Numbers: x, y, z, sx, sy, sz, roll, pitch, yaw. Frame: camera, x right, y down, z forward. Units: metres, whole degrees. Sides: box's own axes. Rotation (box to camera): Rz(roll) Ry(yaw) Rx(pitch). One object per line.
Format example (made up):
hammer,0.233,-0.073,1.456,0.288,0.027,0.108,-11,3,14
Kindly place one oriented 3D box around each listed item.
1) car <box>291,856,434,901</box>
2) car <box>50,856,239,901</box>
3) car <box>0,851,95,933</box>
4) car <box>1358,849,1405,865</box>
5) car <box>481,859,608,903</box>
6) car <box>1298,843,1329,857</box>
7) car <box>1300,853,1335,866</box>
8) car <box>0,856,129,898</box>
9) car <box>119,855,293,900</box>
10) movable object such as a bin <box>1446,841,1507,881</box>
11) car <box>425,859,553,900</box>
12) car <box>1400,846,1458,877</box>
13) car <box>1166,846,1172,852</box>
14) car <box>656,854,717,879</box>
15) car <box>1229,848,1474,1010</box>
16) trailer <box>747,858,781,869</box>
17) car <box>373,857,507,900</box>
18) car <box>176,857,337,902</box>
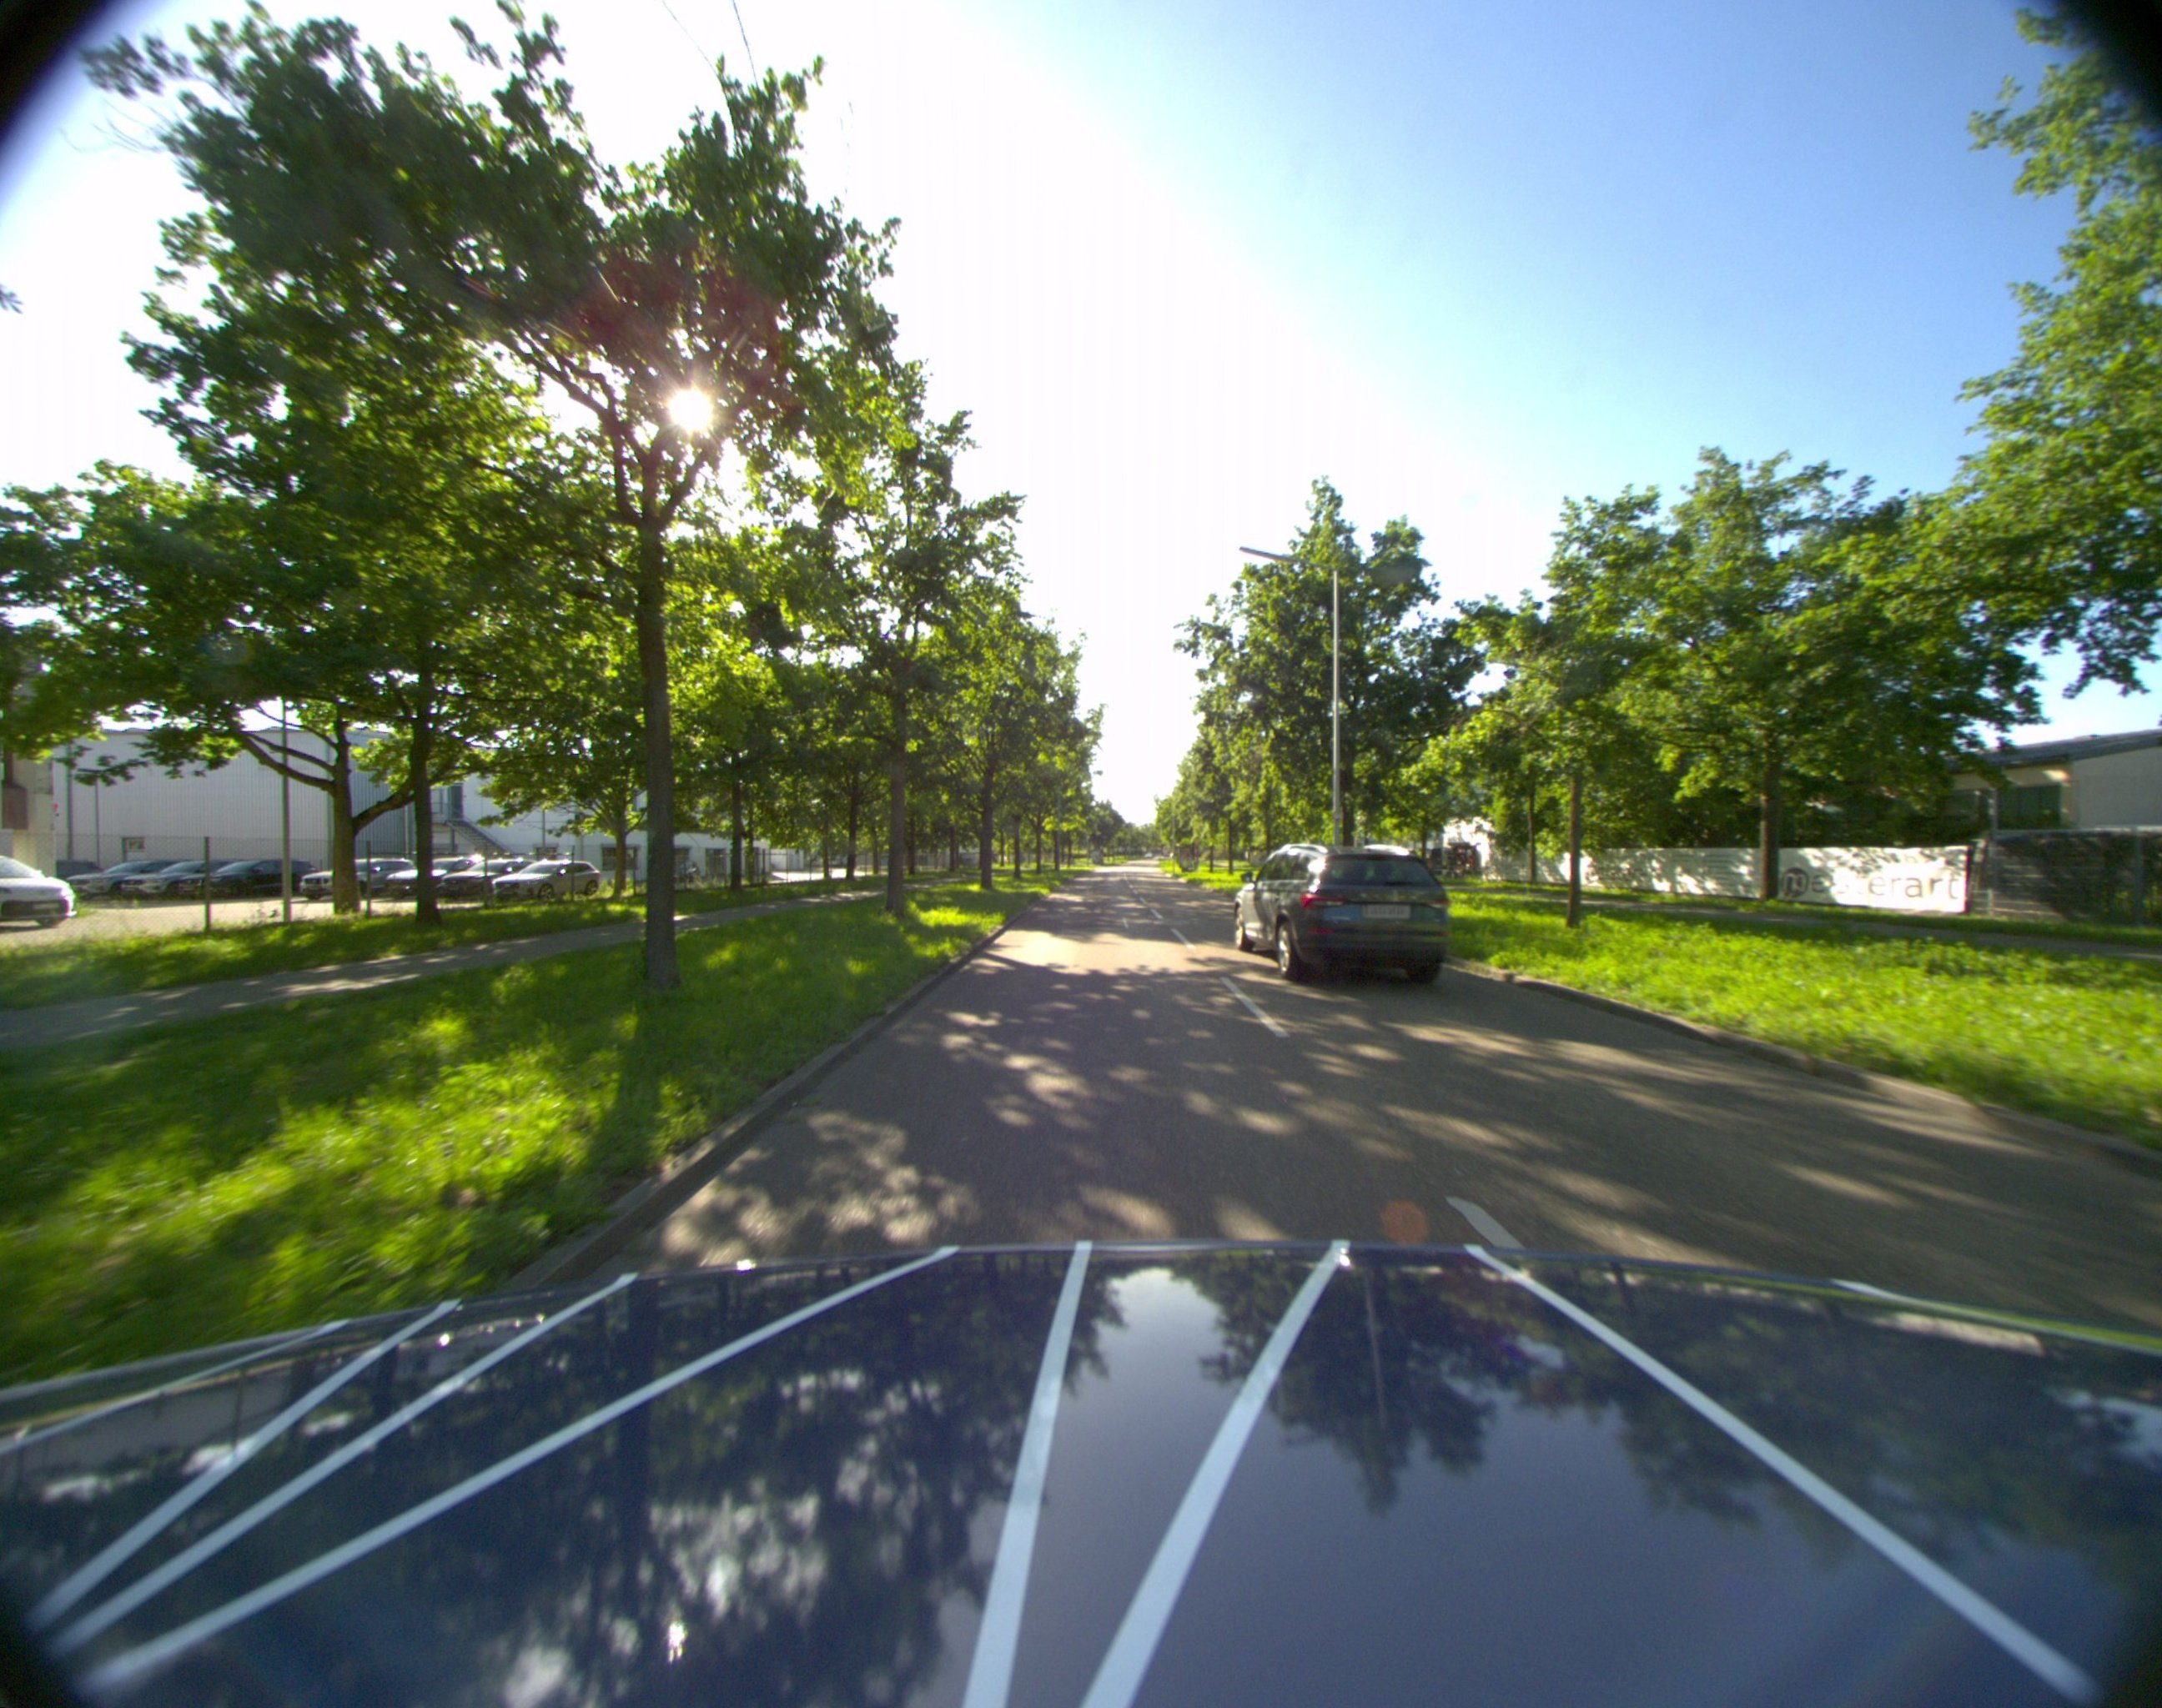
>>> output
car,-30.512,0.974,32.497,1.999,1.663,4.454,-2,1,-3
car,-40.155,1.006,32.837,1.741,1.663,4.971,-2,1,4
car,-28.885,0.910,19.237,5.077,1.948,1.894,1,1,-3
car,35.869,0.365,90.829,5.038,1.827,2.003,-2,1,25
car,-22.497,1.083,32.121,1.999,1.597,4.715,0,1,0
car,31.931,-0.574,104.367,4.007,1.827,1.995,-3,1,-38
car,28.987,0.699,93.183,3.885,1.493,2.003,-2,1,23
car,-44.950,0.981,32.892,1.740,1.663,4.348,-2,1,7
car,-37.637,0.962,32.903,1.704,1.663,4.721,-2,1,7
movable object such as a bin,26.256,0.405,50.645,1.998,2.501,4.236,-2,1,4
car,-25.247,1.039,32.620,1.999,1.550,4.455,0,0,0
car,25.970,0.522,56.881,1.998,2.162,5.672,-1,0,3
car,28.501,-1.541,246.075,1.997,2.002,4.003,0,0,9
car,-27.080,0.831,52.302,1.719,1.497,4.159,-2,1,4
car,3.250,0.769,10.083,1.772,1.663,4.199,1,1,1
trailer,-38.880,1.196,93.094,3.588,1.259,1.733,0,0,19
car,-27.521,0.994,32.863,1.999,1.663,4.455,0,0,0
car,-35.261,1.033,32.707,1.698,1.646,4.458,-2,1,7
